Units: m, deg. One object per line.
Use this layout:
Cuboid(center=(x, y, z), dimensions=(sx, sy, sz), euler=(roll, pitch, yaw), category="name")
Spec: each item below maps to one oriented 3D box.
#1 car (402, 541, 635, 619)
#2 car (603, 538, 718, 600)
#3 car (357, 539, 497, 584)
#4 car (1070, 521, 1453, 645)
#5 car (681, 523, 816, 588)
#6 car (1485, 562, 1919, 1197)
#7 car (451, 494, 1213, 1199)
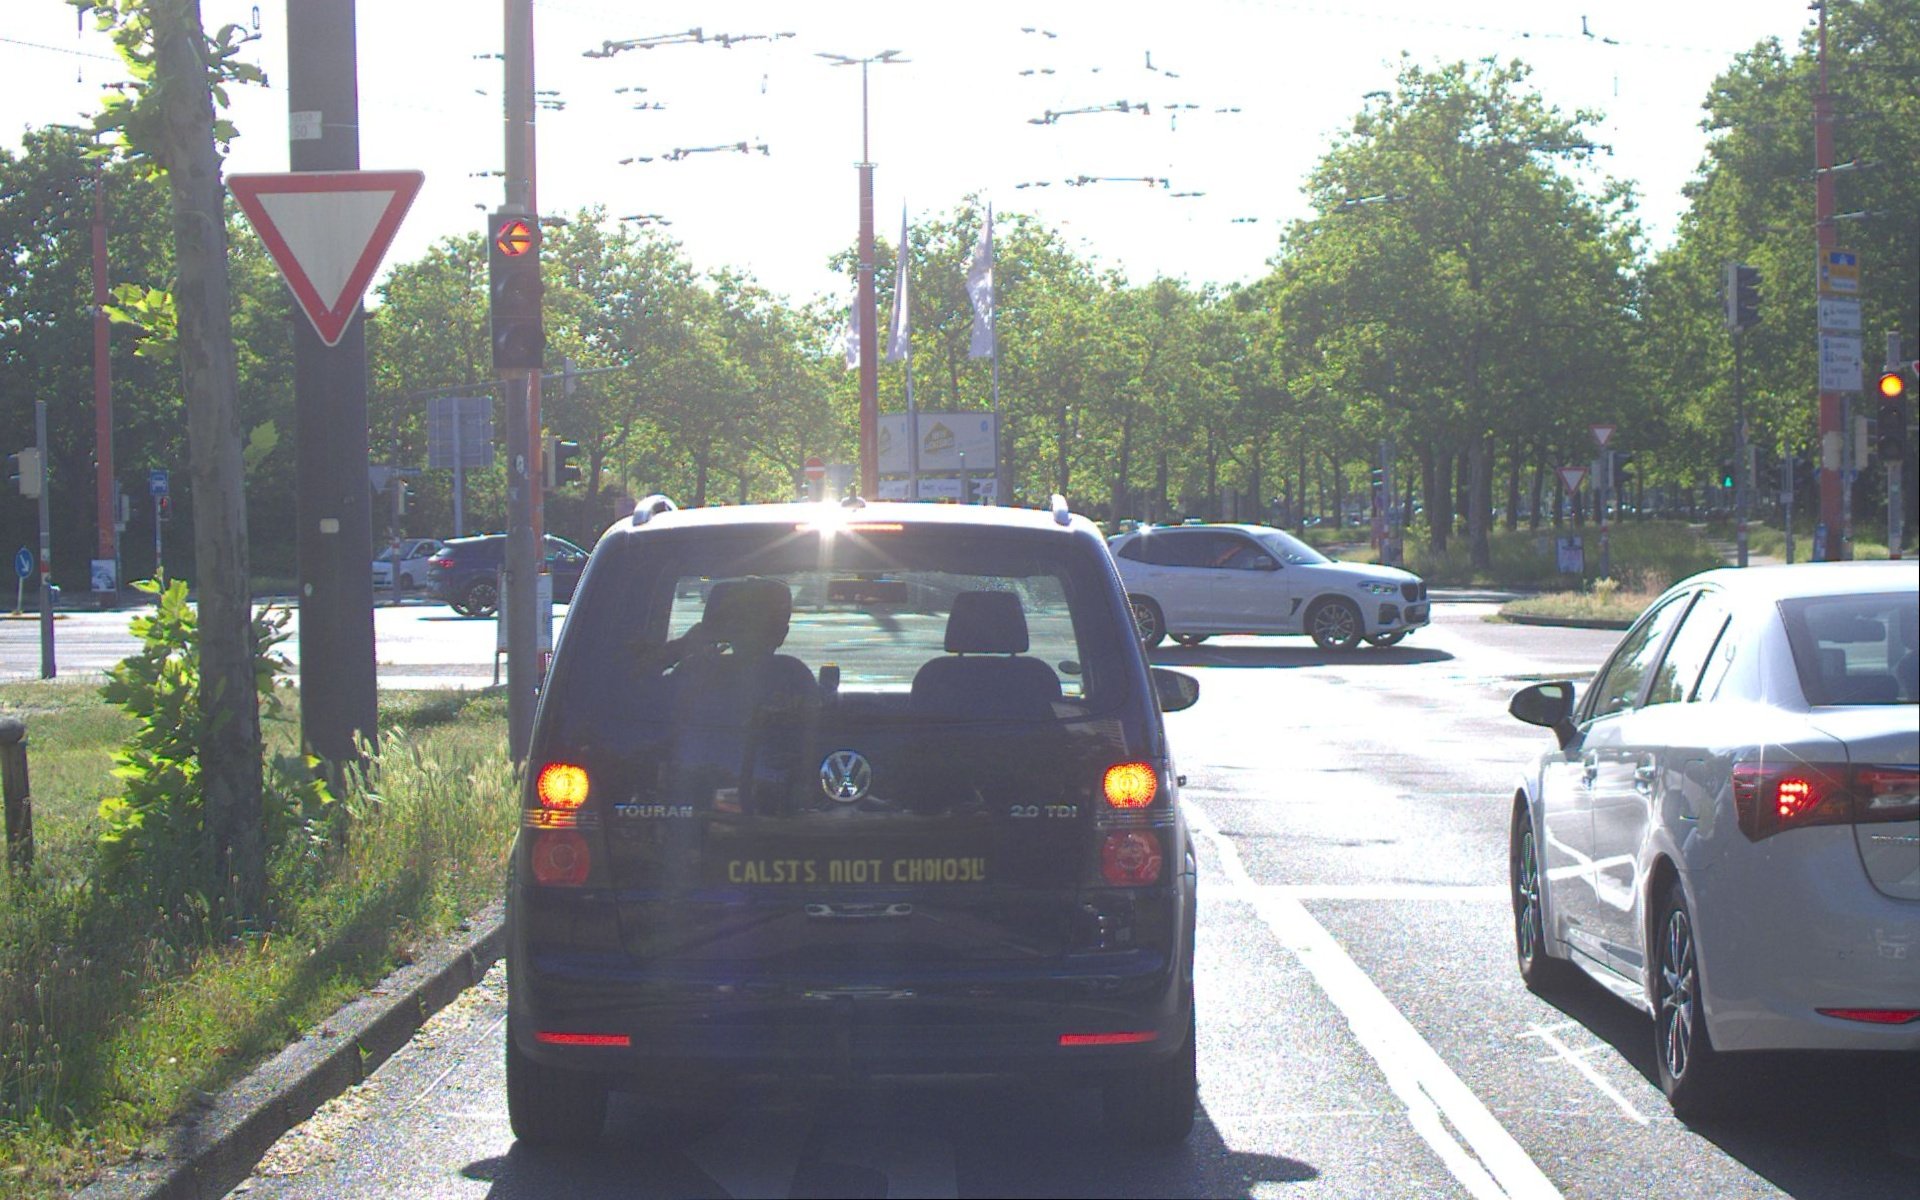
Cuboid(center=(-8.680, -0.407, 67.507), dimensions=(4.208, 1.459, 1.915), euler=(-1, 1, -20), category="car")
Cuboid(center=(-8.417, -0.893, 97.121), dimensions=(1.994, 1.679, 4.827), euler=(0, 1, 11), category="car")
Cuboid(center=(-16.021, -1.157, 103.416), dimensions=(3.802, 1.305, 1.663), euler=(-1, 1, -31), category="car")
Cuboid(center=(4.050, -0.244, 46.357), dimensions=(4.787, 1.592, 1.911), euler=(0, 1, 27), category="car")
Cuboid(center=(-5.605, -1.198, 91.738), dimensions=(1.995, 1.679, 4.825), euler=(0, 1, 17), category="car")
Cuboid(center=(2.690, 0.631, 10.081), dimensions=(1.715, 1.449, 4.144), euler=(0, 1, 1), category="car")
Cuboid(center=(-0.314, 0.547, 9.880), dimensions=(1.737, 1.635, 4.000), euler=(0, 1, -1), category="car")
